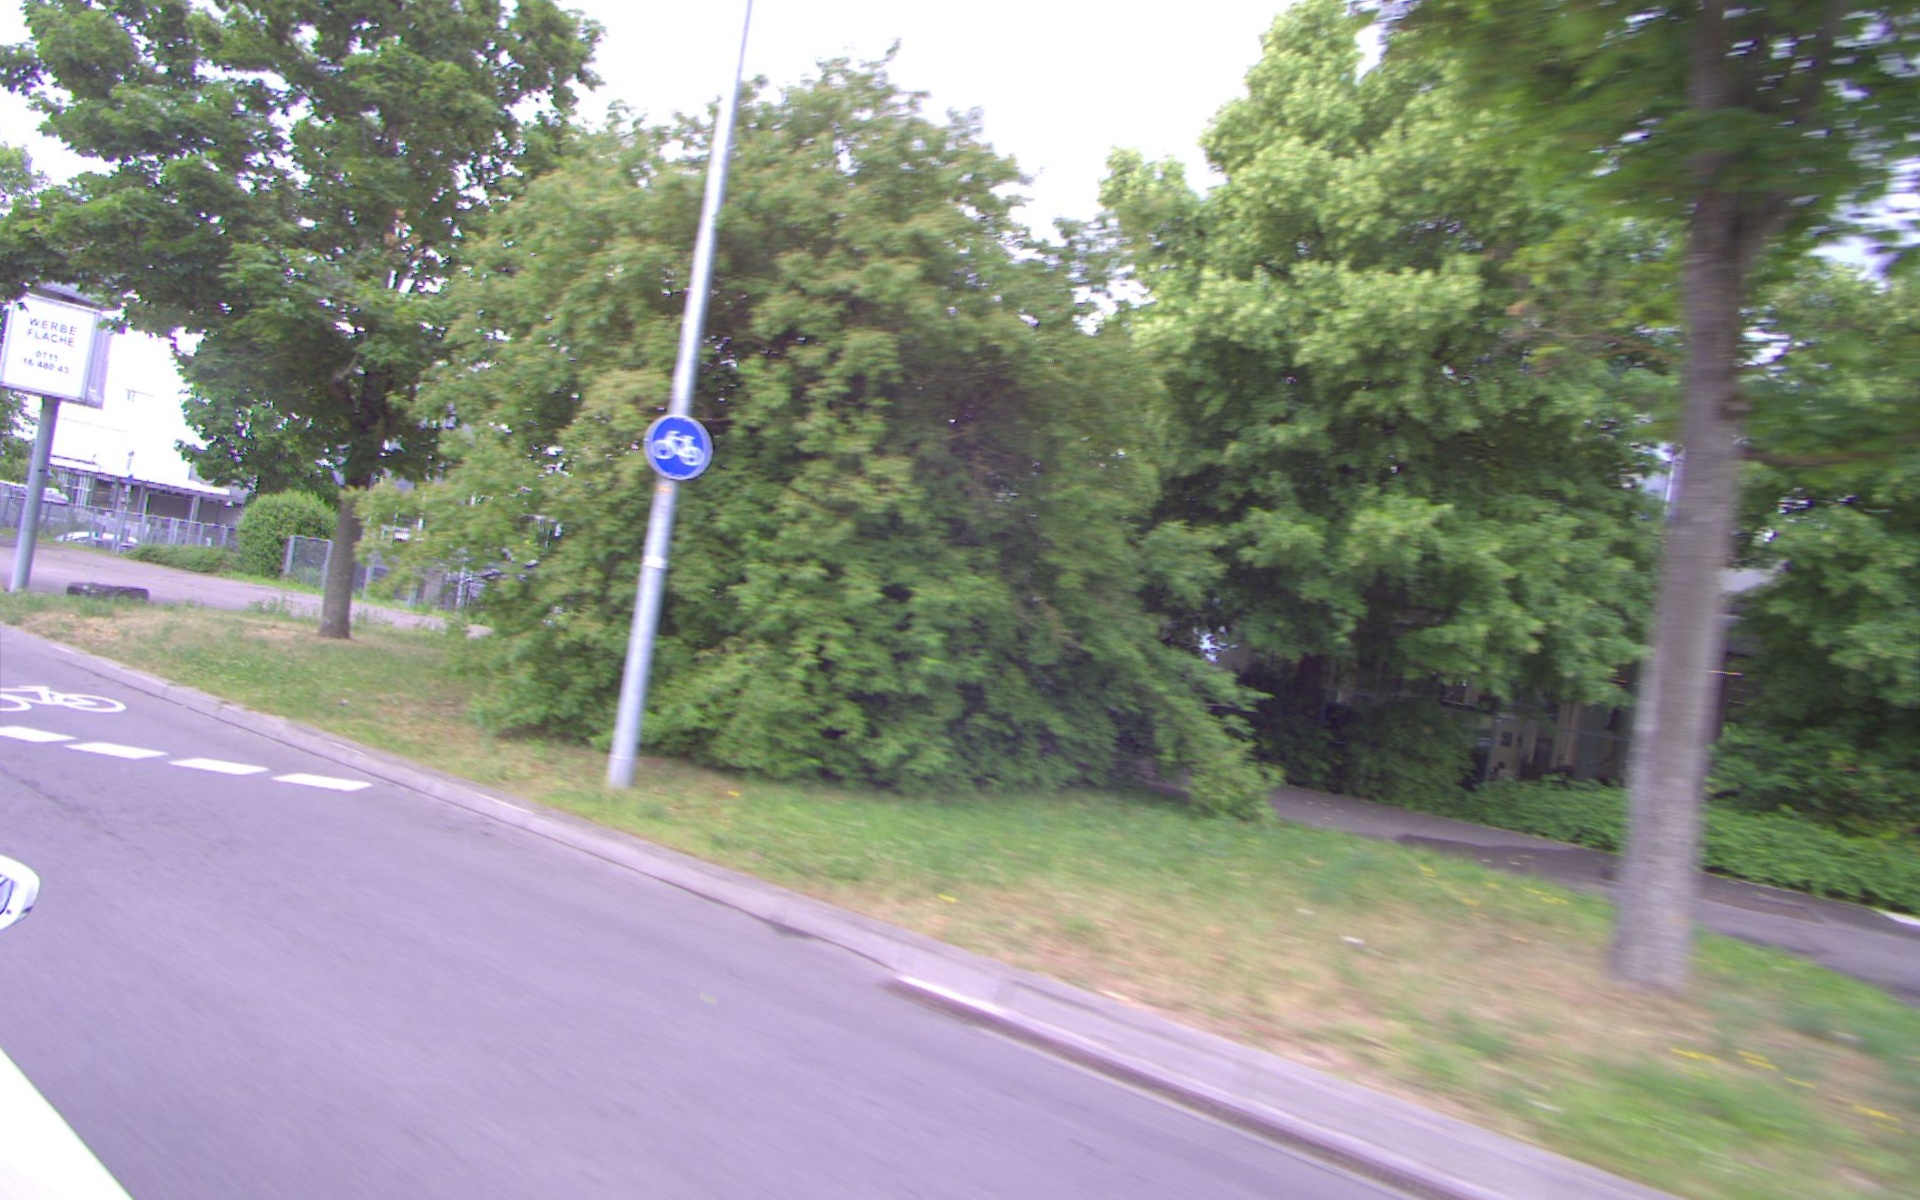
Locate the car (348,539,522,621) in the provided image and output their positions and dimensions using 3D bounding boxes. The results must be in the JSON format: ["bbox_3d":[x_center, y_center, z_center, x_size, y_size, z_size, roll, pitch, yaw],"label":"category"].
[{"bbox_3d":[-17.960,-0.655,34.586,4.709,2.049,2.001,8,-2,-1],"label":"car"}]

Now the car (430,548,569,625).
[{"bbox_3d":[-18.190,-0.513,39.890,4.346,2.353,2.001,8,-1,1],"label":"car"}]

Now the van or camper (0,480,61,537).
[{"bbox_3d":[-57.425,-5.666,61.197,6.804,2.902,1.969,7,-1,31],"label":"van or camper"}]

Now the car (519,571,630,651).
[{"bbox_3d":[-11.732,0.366,30.917,1.965,2.048,3.999,8,-2,-6],"label":"car"}]

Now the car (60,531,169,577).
[{"bbox_3d":[-42.719,-2.304,50.914,1.662,1.636,3.745,7,-3,28],"label":"car"}]
